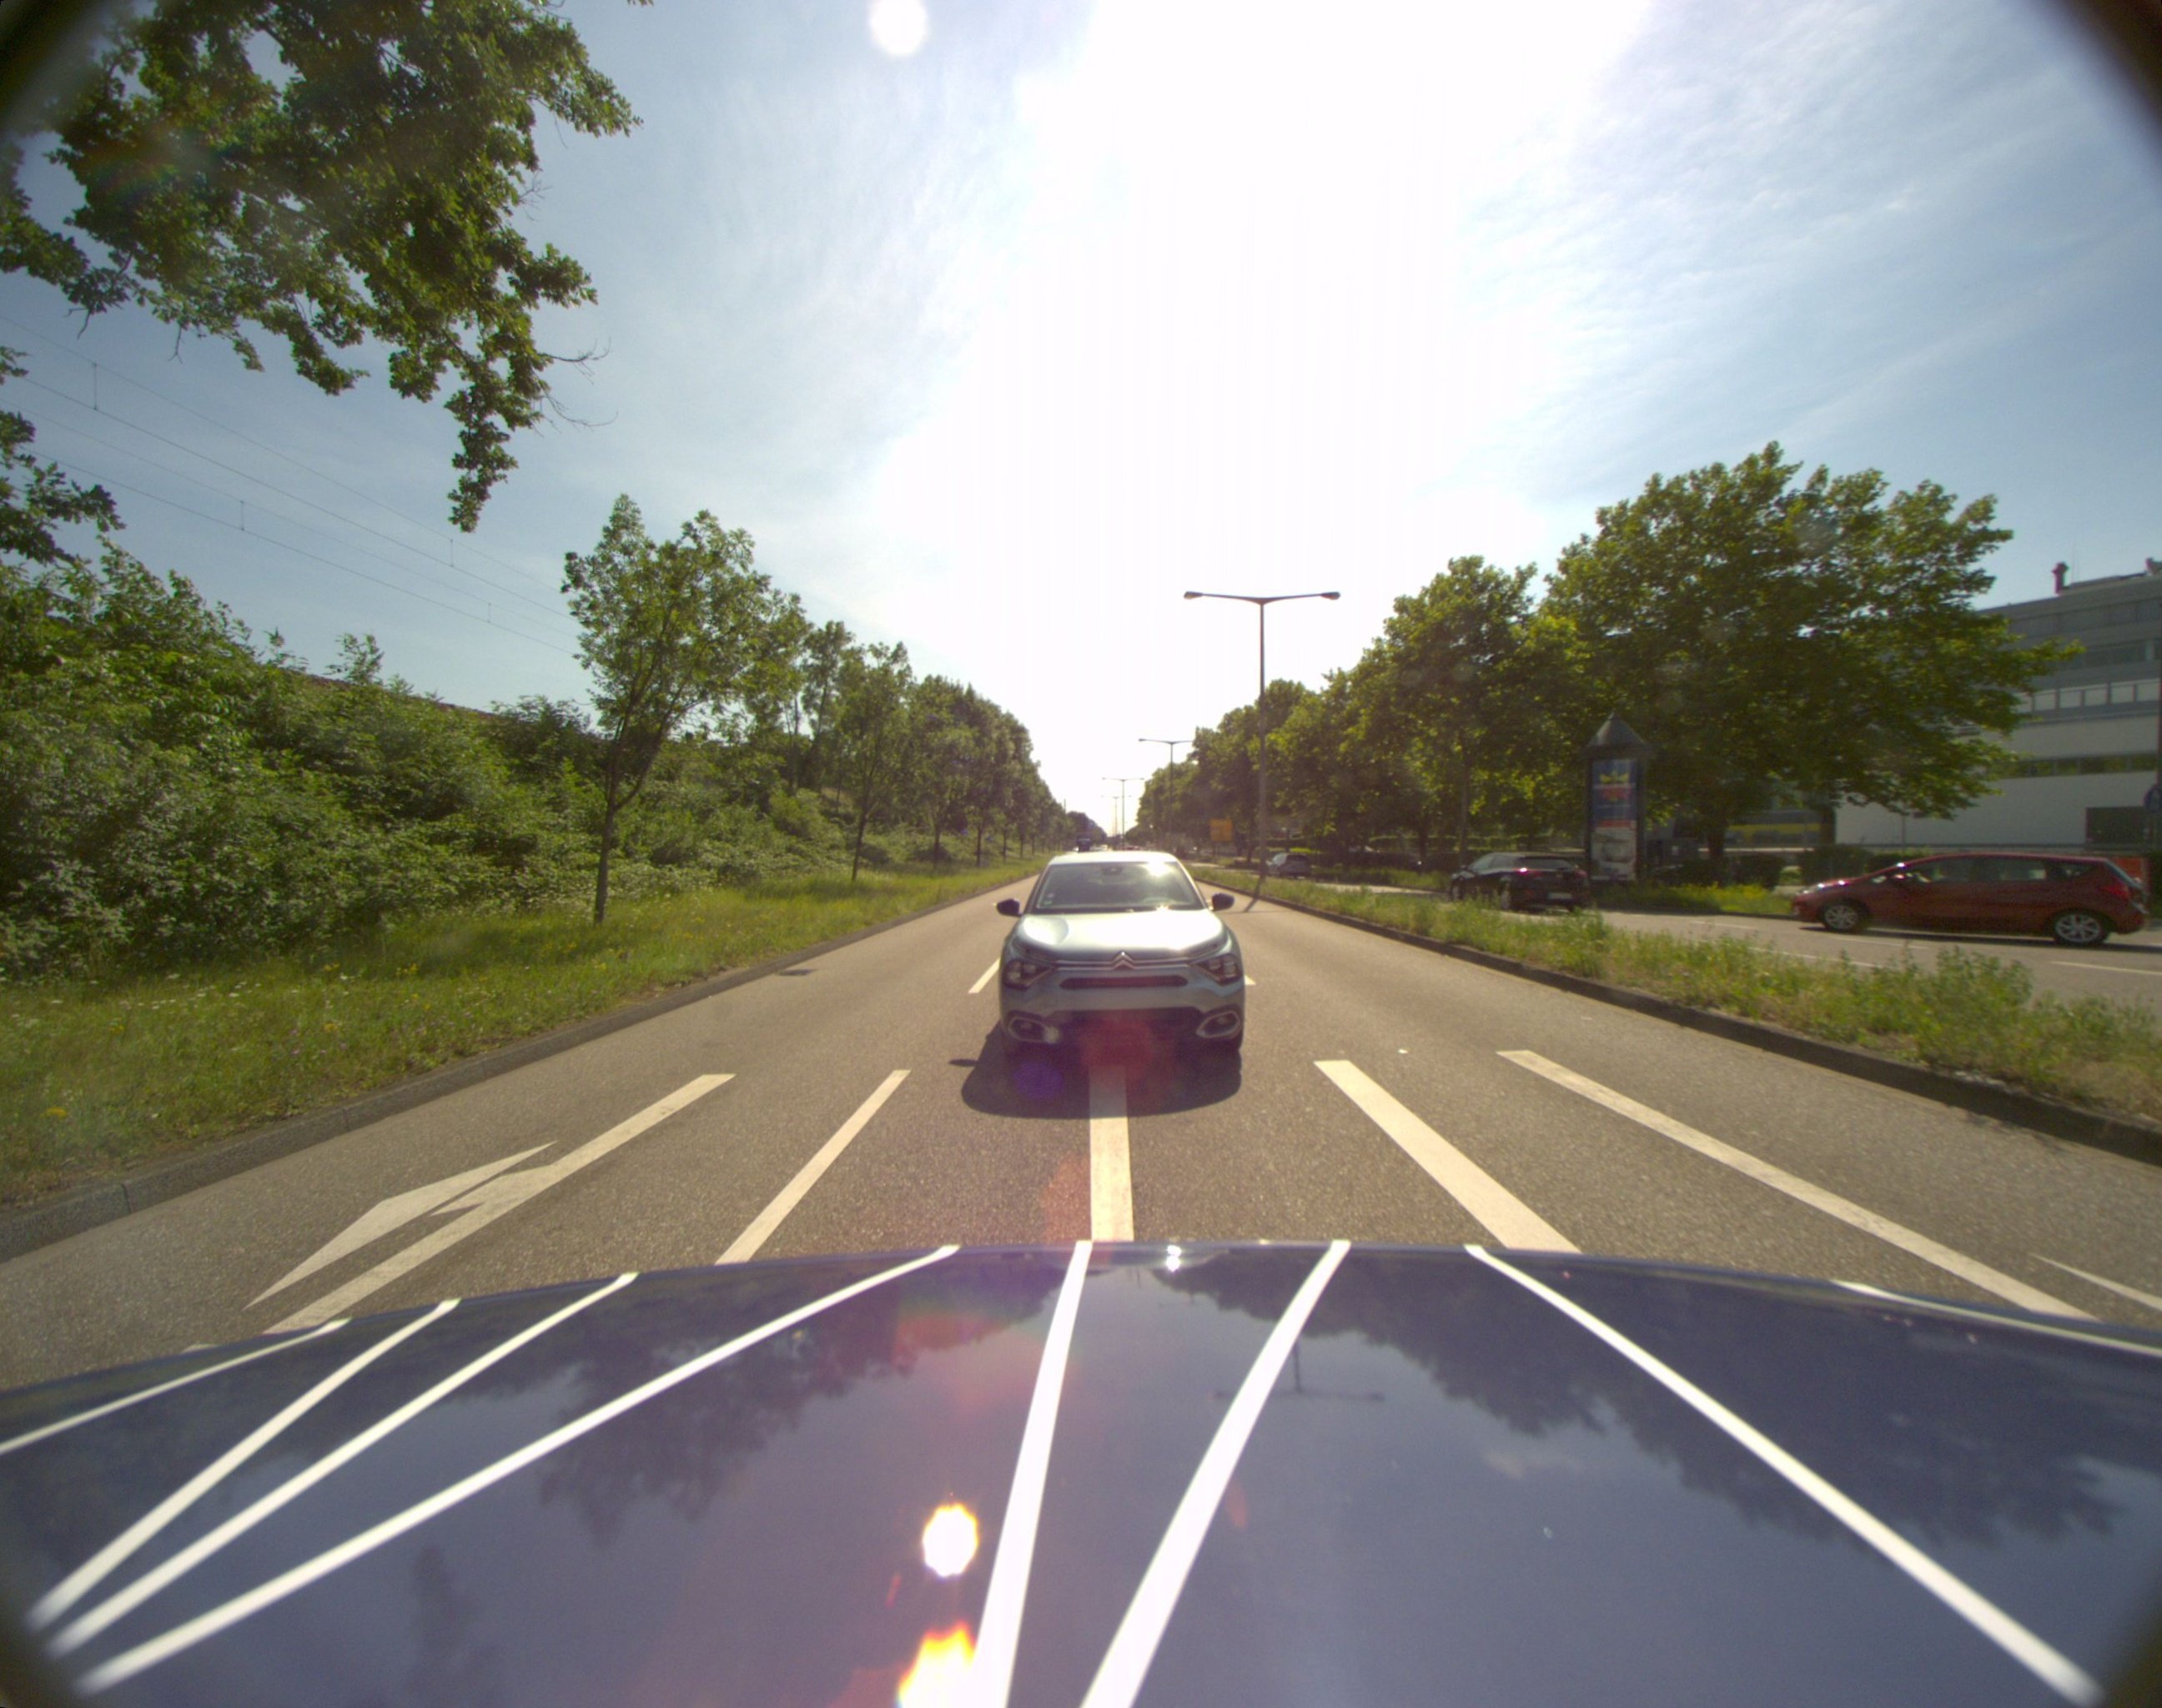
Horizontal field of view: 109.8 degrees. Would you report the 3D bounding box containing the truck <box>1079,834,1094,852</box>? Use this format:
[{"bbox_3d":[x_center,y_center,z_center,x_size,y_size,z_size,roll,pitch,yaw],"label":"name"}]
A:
[{"bbox_3d":[1.035,-2.065,141.975,2.775,3.248,7.482,0,1,1],"label":"truck"}]

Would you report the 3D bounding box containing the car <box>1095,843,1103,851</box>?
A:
[{"bbox_3d":[4.583,-1.882,192.687,1.998,2.002,4.000,-1,1,1],"label":"car"}]

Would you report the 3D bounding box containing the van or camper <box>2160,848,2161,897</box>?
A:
[{"bbox_3d":[39.494,0.644,25.016,2.004,1.682,4.500,-1,1,-37],"label":"van or camper"}]

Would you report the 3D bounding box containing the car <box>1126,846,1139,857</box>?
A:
[{"bbox_3d":[9.138,-0.440,135.468,1.998,2.002,4.000,-1,1,1],"label":"car"}]

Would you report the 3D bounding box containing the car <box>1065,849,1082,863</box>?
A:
[{"bbox_3d":[-0.832,0.199,82.070,1.705,1.429,3.677,-2,1,-2],"label":"car"}]

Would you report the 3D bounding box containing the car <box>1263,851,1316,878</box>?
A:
[{"bbox_3d":[11.788,0.553,43.308,1.844,1.414,4.221,1,0,0],"label":"car"}]

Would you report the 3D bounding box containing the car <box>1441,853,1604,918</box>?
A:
[{"bbox_3d":[11.024,0.725,19.317,1.844,1.414,3.894,0,1,0],"label":"car"}]

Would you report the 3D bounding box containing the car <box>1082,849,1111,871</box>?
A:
[{"bbox_3d":[1.091,0.436,54.389,1.998,1.492,4.000,-1,0,1],"label":"car"}]

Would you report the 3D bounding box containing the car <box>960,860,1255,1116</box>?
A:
[{"bbox_3d":[0.247,0.860,7.116,1.826,1.521,4.752,-1,0,2],"label":"car"}]

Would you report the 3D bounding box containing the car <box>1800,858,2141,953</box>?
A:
[{"bbox_3d":[15.526,0.791,13.495,1.858,1.426,3.756,1,0,-38],"label":"car"}]

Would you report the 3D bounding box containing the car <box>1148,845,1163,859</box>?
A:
[{"bbox_3d":[11.513,-0.331,118.158,1.998,2.002,4.000,-1,1,1],"label":"car"}]
